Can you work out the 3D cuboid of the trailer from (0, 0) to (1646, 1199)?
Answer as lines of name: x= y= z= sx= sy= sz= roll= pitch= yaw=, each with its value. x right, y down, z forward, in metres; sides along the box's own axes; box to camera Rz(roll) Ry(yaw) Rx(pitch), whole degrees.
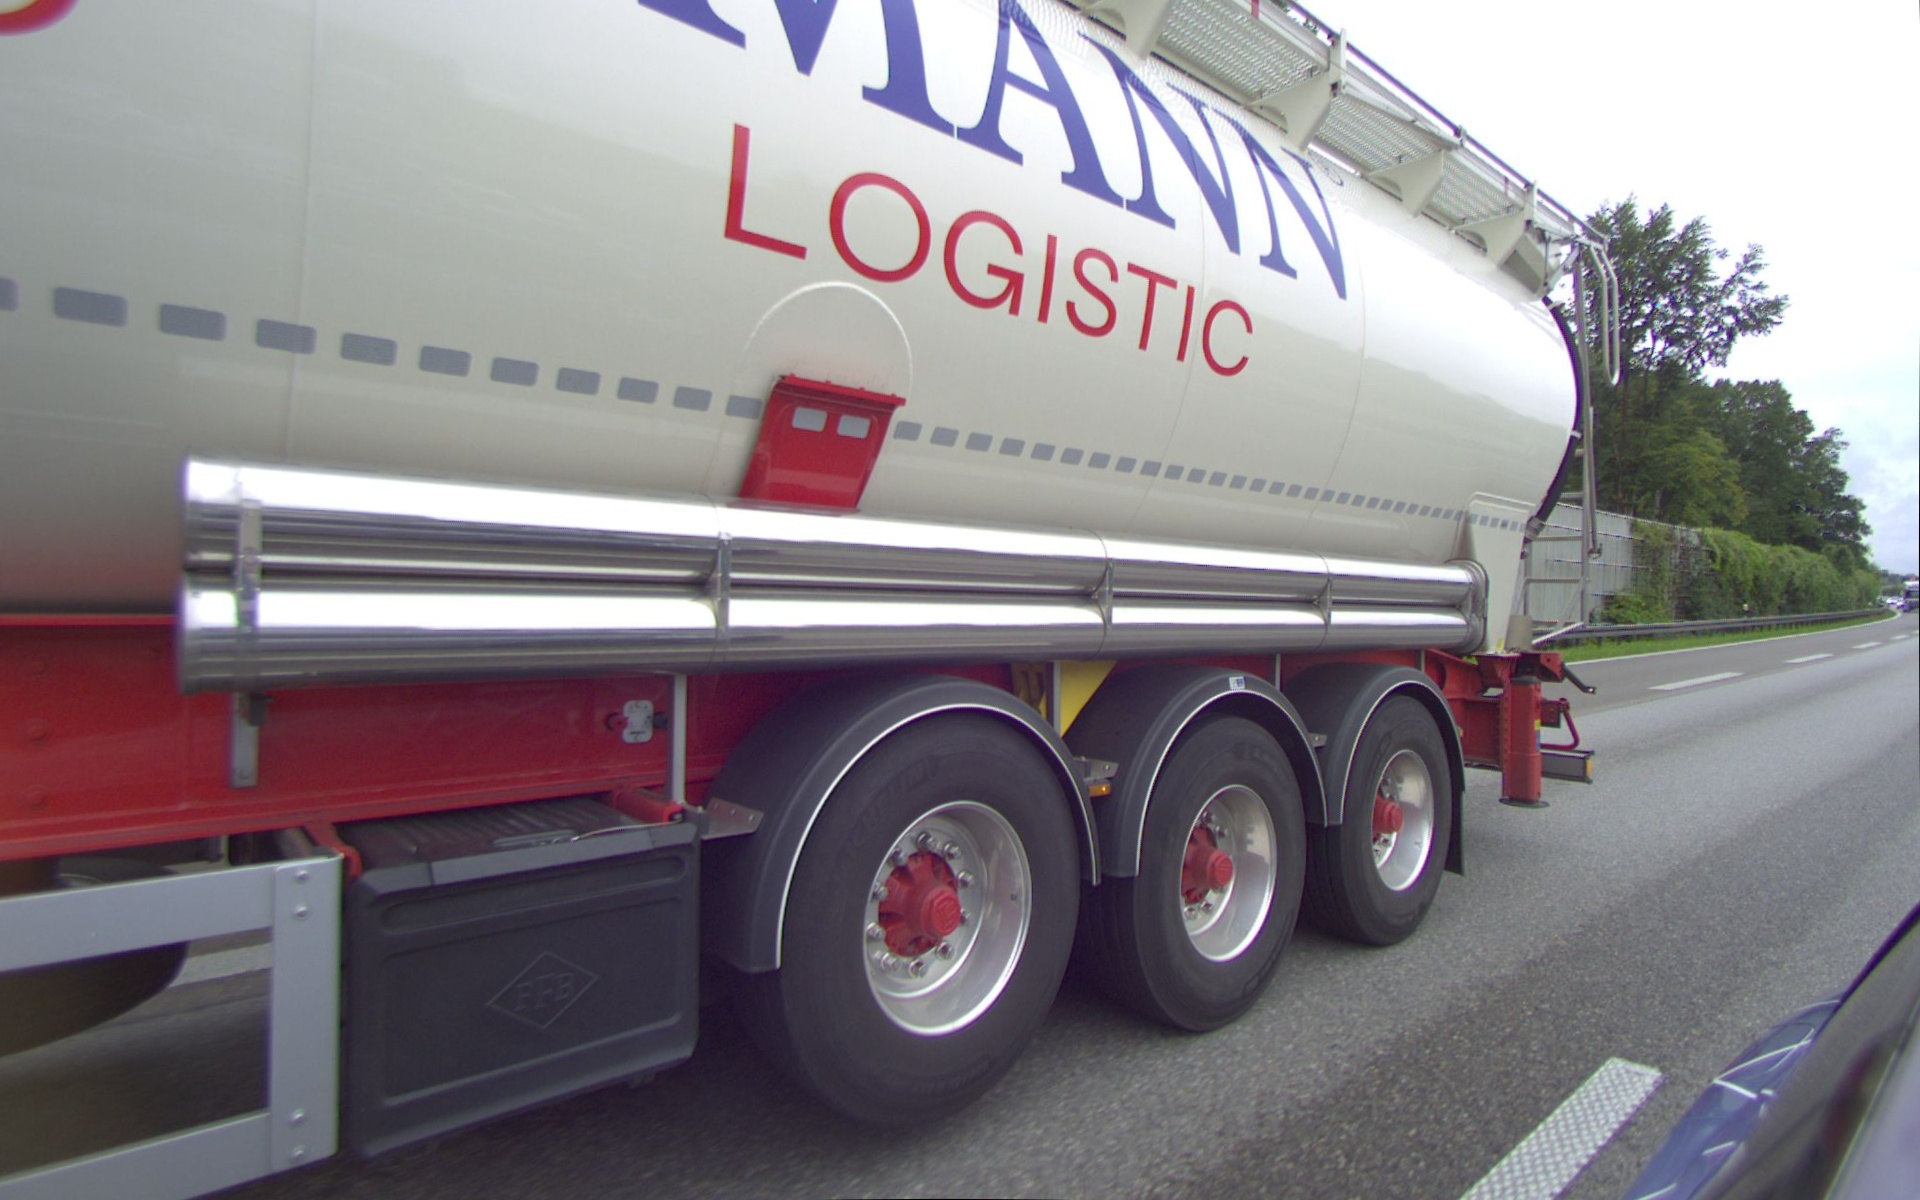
trailer: x=-1.599 y=-0.622 z=2.868 sx=12.901 sy=3.988 sz=2.673 roll=0 pitch=1 yaw=-41

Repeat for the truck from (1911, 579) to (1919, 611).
truck: x=120.168 y=-0.634 z=125.332 sx=2.697 sy=3.757 sz=8.128 roll=2 pitch=2 yaw=39
